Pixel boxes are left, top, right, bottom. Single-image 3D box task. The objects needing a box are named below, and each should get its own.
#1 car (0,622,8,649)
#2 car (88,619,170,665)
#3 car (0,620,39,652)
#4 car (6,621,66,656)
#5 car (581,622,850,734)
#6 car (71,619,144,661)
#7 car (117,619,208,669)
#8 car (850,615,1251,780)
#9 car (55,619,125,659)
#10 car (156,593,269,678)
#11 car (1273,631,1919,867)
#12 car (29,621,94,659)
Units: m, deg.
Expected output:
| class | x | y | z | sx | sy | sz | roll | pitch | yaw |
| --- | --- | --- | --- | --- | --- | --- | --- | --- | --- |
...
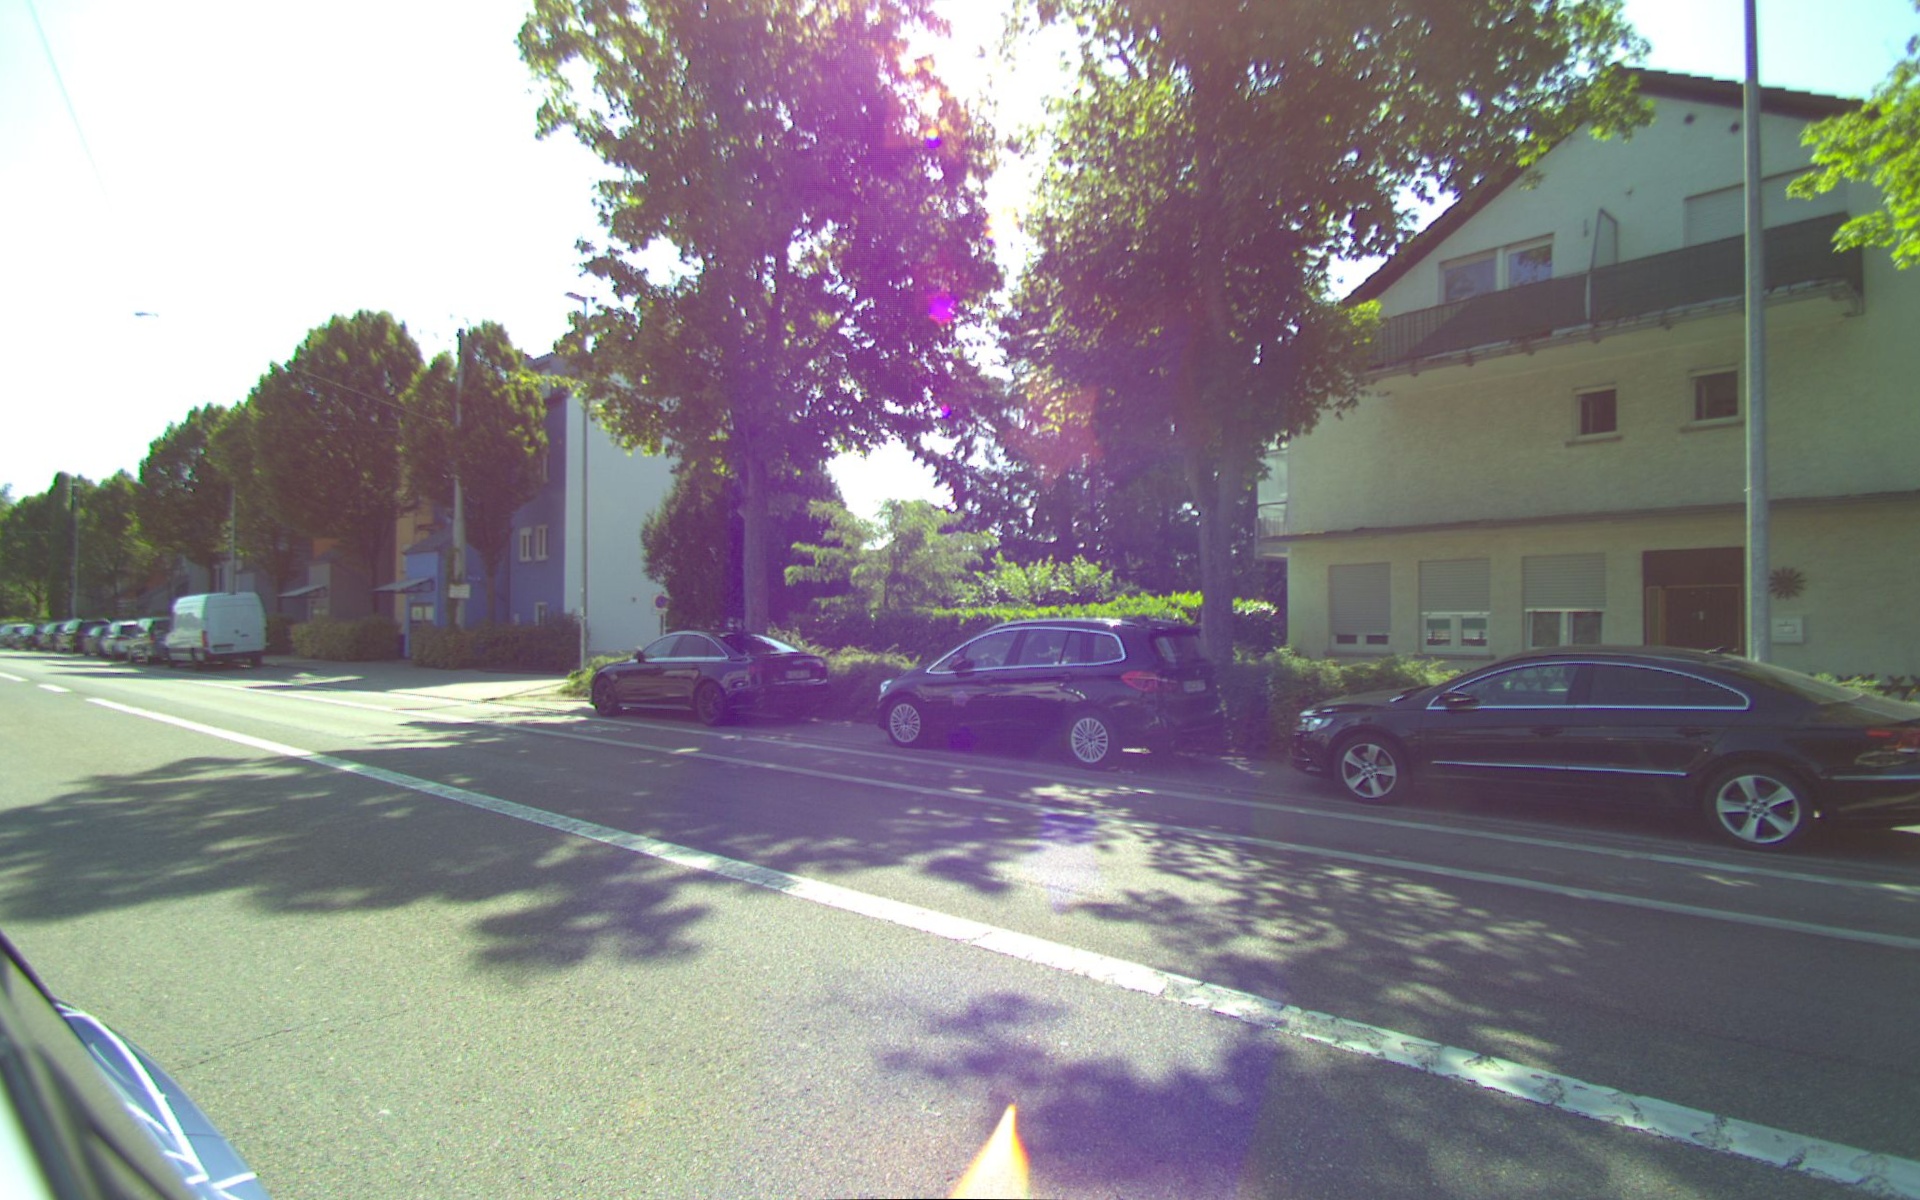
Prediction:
| class | x | y | z | sx | sy | sz | roll | pitch | yaw |
| --- | --- | --- | --- | --- | --- | --- | --- | --- | --- |
| car | -68.729 | 2.583 | 71.138 | 4.766 | 1.818 | 1.974 | -2 | 4 | 41 |
| car | -38.056 | 1.882 | 46.317 | 4.766 | 1.818 | 1.974 | -2 | 4 | 41 |
| car | -60.259 | 2.297 | 64.209 | 4.766 | 1.818 | 1.974 | -2 | 4 | 41 |
| car | -54.818 | 2.270 | 60.010 | 4.766 | 1.818 | 1.974 | -2 | 4 | 41 |
| car | -4.082 | 1.155 | 16.508 | 4.616 | 1.583 | 1.845 | -1 | -2 | 39 |
| car | -42.125 | 1.965 | 49.991 | 4.254 | 1.818 | 1.974 | -2 | 4 | 41 |
| car | -33.518 | 1.815 | 42.500 | 4.766 | 1.818 | 1.974 | -2 | 4 | 41 |
| car | 0.932 | 1.016 | 12.241 | 4.619 | 1.583 | 1.844 | -1 | 0 | 41 |
| car | -45.732 | 2.030 | 53.173 | 4.766 | 1.818 | 1.974 | -2 | 4 | 41 |
| car | -27.372 | 1.243 | 36.951 | 6.213 | 2.713 | 1.973 | -2 | 4 | 43 |
| car | 5.214 | 1.010 | 8.432 | 4.619 | 1.426 | 1.844 | -1 | 0 | 41 |
| car | -50.276 | 2.206 | 56.620 | 4.766 | 1.818 | 1.974 | -2 | 4 | 41 |
